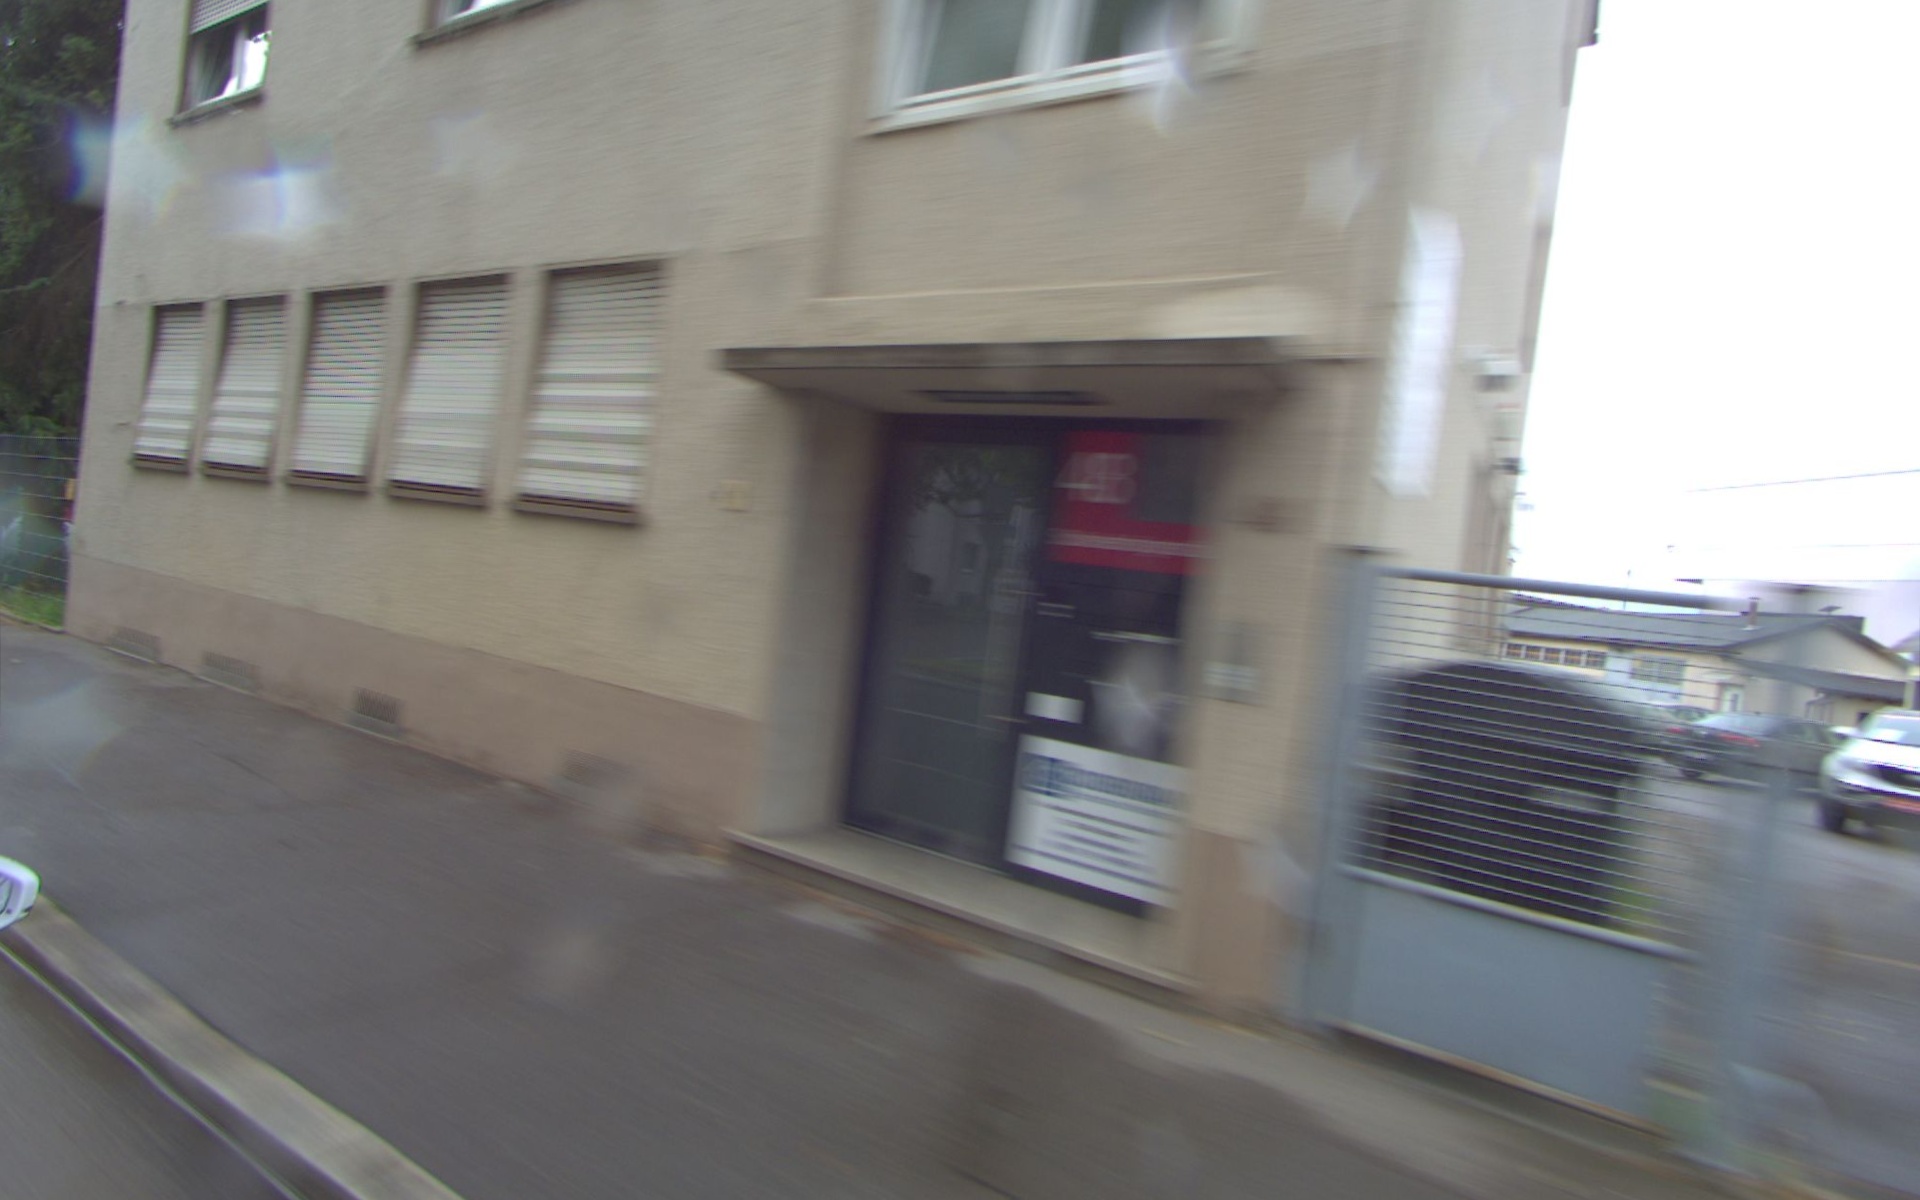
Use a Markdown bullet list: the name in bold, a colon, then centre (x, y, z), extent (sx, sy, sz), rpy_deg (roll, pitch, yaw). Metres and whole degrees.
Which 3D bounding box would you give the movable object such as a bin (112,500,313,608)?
- **movable object such as a bin**: centre (-15.626, -0.932, 21.114), extent (2.048, 1.736, 2.623), rpy_deg (7, -2, 29)

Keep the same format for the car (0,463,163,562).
- **car**: centre (-27.052, -2.685, 29.249), extent (1.966, 2.236, 5.581), rpy_deg (7, -2, 30)

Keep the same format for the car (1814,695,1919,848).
- **car**: centre (12.270, 2.204, 12.566), extent (3.973, 1.611, 1.801), rpy_deg (9, -3, -41)

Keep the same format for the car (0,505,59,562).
- **car**: centre (-29.818, -2.181, 29.687), extent (1.764, 1.549, 4.387), rpy_deg (6, -1, 30)

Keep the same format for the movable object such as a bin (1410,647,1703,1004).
- **movable object such as a bin**: centre (3.155, 1.067, 5.396), extent (1.092, 1.529, 1.234), rpy_deg (6, 1, 31)

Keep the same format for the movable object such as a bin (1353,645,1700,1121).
- **movable object such as a bin**: centre (2.295, 0.997, 4.134), extent (0.970, 1.529, 1.111), rpy_deg (6, 2, 31)

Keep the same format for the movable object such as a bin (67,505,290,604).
- **movable object such as a bin**: centre (-17.301, -0.970, 22.422), extent (1.859, 1.595, 3.339), rpy_deg (7, -2, 29)

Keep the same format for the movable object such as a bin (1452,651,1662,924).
- **movable object such as a bin**: centre (3.959, 1.155, 6.718), extent (0.993, 1.529, 1.111), rpy_deg (6, 2, 31)

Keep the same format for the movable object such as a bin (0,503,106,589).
- **movable object such as a bin**: centre (-17.799, -1.101, 19.057), extent (2.809, 1.335, 1.374), rpy_deg (7, -1, 27)
